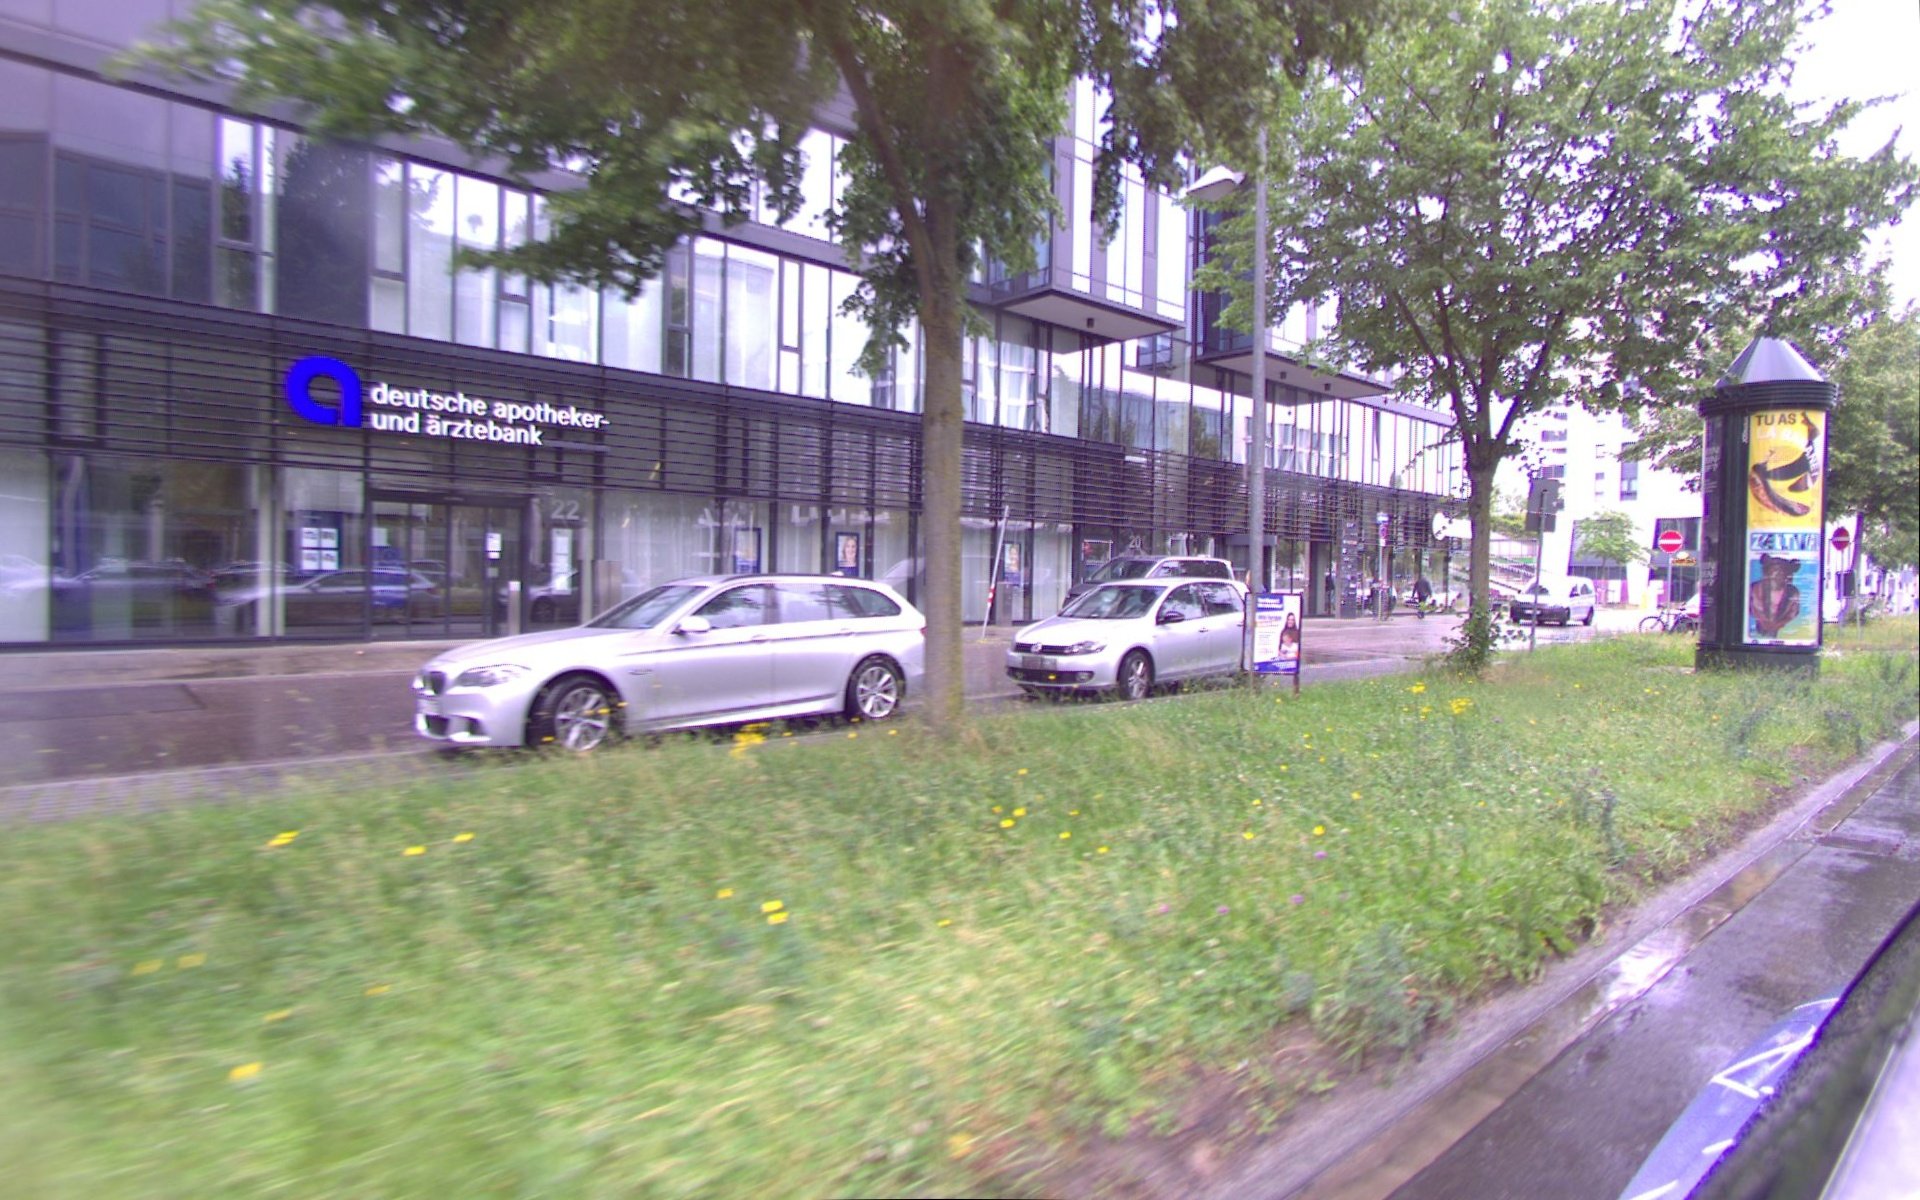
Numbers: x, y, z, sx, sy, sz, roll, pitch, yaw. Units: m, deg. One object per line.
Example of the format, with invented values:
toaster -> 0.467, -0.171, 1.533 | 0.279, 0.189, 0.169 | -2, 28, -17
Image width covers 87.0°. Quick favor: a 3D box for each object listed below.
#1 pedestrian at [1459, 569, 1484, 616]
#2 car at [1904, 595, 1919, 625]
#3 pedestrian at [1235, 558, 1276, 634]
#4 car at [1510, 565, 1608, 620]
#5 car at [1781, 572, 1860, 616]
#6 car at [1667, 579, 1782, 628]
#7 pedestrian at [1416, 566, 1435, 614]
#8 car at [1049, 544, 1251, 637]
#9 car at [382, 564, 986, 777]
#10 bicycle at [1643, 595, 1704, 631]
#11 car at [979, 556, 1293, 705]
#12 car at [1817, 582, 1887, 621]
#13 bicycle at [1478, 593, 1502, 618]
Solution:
pedestrian -> 19.318, -0.289, 38.211 | 0.626, 1.727, 0.646 | 2, -1, 44
car -> 60.457, 0.666, 63.040 | 4.754, 1.729, 1.997 | 2, 0, -42
pedestrian -> 6.982, -0.085, 23.910 | 0.789, 1.761, 0.580 | 3, -1, -43
car -> 22.169, -0.279, 37.394 | 4.645, 1.889, 1.895 | 0, 1, -44
car -> 37.688, -0.234, 44.288 | 4.754, 1.729, 1.997 | 2, 0, -42
car -> 25.063, 0.085, 33.103 | 4.872, 1.473, 1.998 | 0, 2, -41
pedestrian -> 18.210, -0.394, 39.571 | 0.500, 1.856, 0.574 | 2, 0, 13
car -> 4.515, -0.248, 23.499 | 5.062, 1.944, 1.996 | -1, 2, -43
car -> -2.272, 0.435, 9.470 | 5.150, 1.462, 1.995 | -1, 2, -44
bicycle -> 19.328, 0.339, 27.440 | 0.424, 0.929, 1.464 | 2, 0, -8
car -> 2.352, 0.365, 12.944 | 4.027, 1.616, 1.764 | 2, 0, -41
car -> 43.783, 0.100, 49.622 | 4.754, 1.729, 1.997 | 2, 0, -42
bicycle -> 19.828, 0.216, 37.829 | 0.436, 0.909, 1.212 | 2, 0, 45
